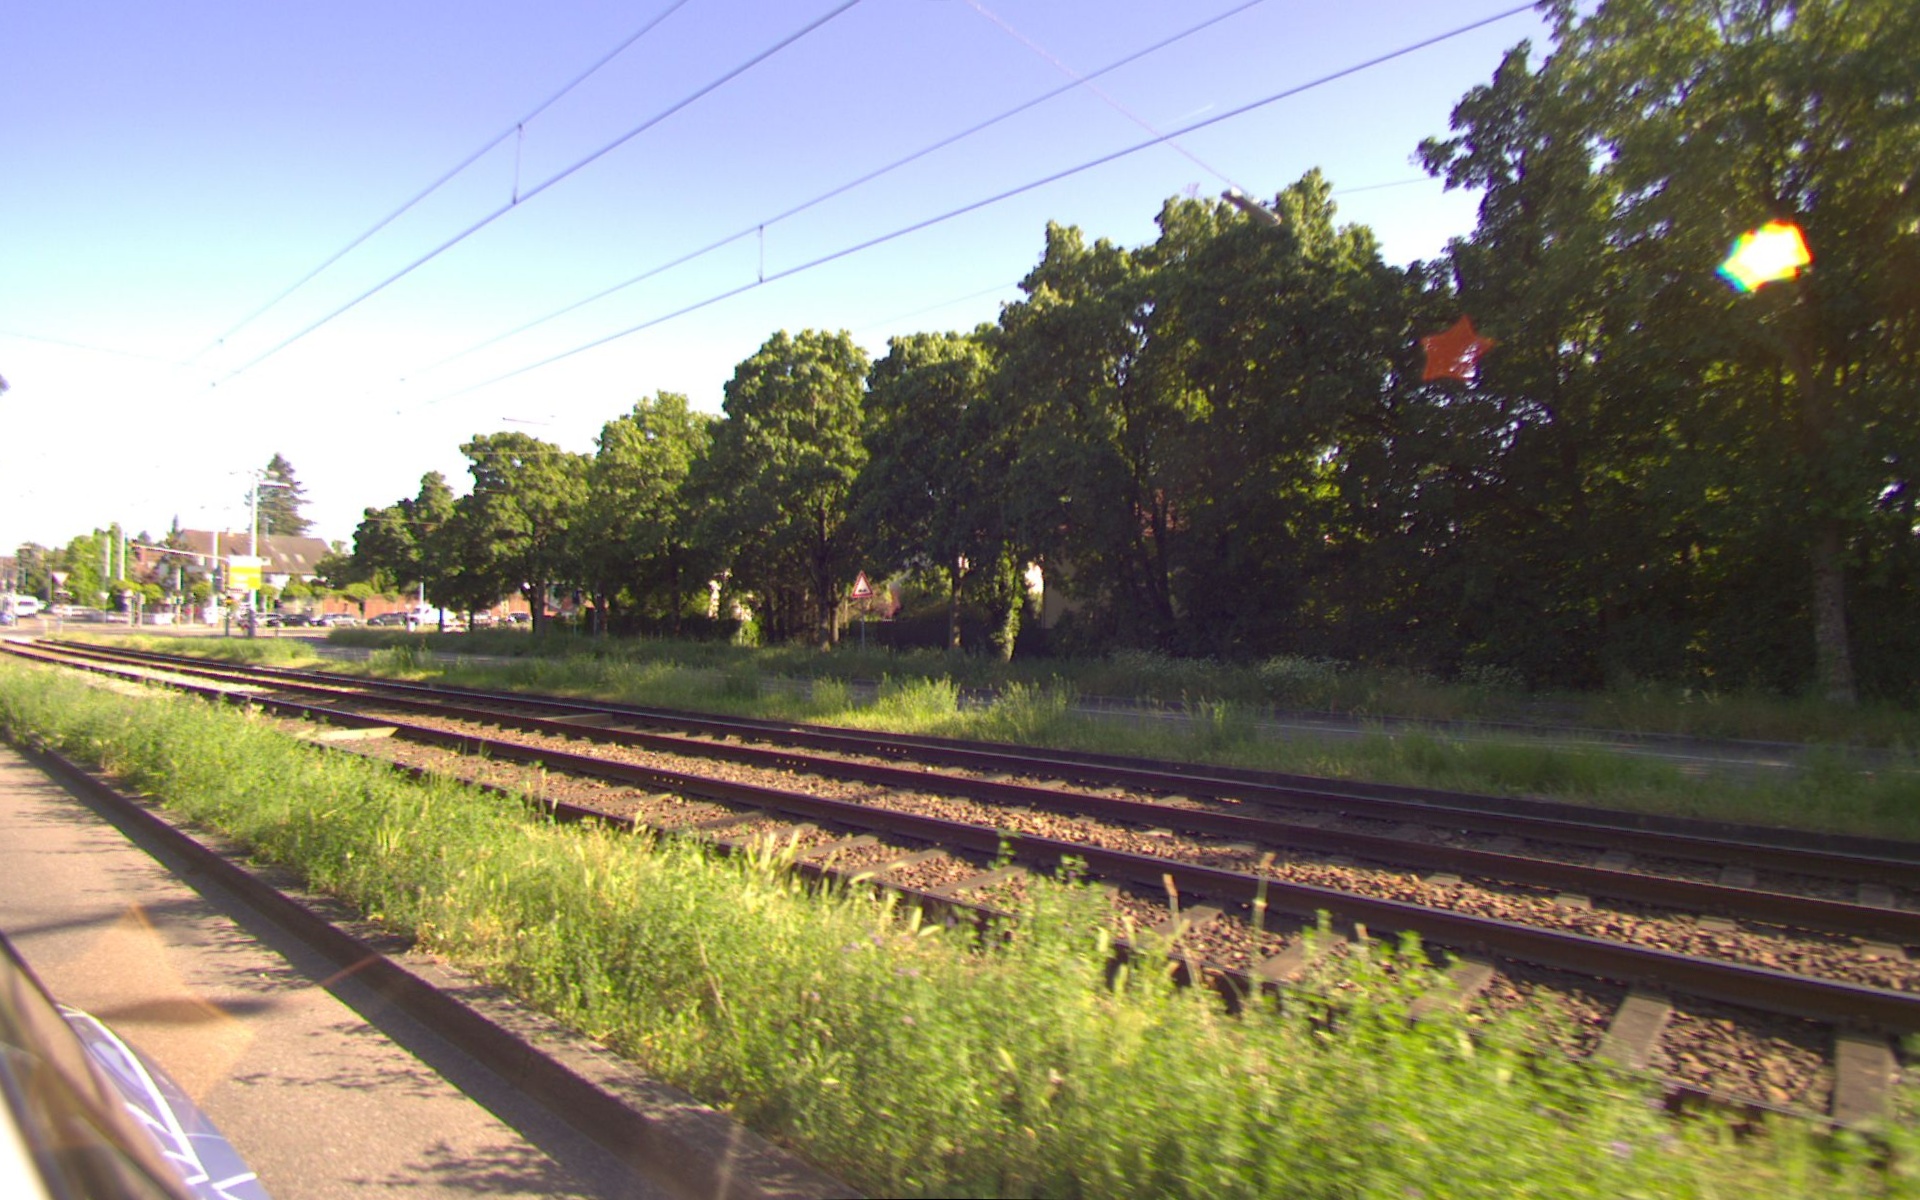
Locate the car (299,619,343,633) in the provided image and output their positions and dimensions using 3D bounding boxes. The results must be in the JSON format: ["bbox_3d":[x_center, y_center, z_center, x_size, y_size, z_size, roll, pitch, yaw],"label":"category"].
[{"bbox_3d":[-70.375,2.879,111.530,1.657,1.488,3.979,1,-1,16],"label":"car"}]

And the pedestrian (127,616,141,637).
[{"bbox_3d":[-79.991,2.551,98.004,0.765,1.963,0.611,1,-1,0],"label":"pedestrian"}]

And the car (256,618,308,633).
[{"bbox_3d":[-69.273,2.578,103.440,1.921,1.477,4.227,0,-1,16],"label":"car"}]

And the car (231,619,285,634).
[{"bbox_3d":[-72.246,2.717,104.230,1.657,1.488,4.612,1,-1,16],"label":"car"}]

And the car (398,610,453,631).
[{"bbox_3d":[-63.498,2.470,120.291,2.163,2.429,5.887,1,-1,18],"label":"car"}]

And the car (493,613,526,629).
[{"bbox_3d":[-59.637,2.740,134.031,1.791,2.029,3.981,1,-1,14],"label":"car"}]

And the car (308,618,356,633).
[{"bbox_3d":[-67.385,2.719,108.651,1.921,1.477,4.237,0,-1,16],"label":"car"}]

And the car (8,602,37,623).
[{"bbox_3d":[-113.331,1.458,122.392,2.312,2.476,6.880,2,-1,-42],"label":"car"}]
